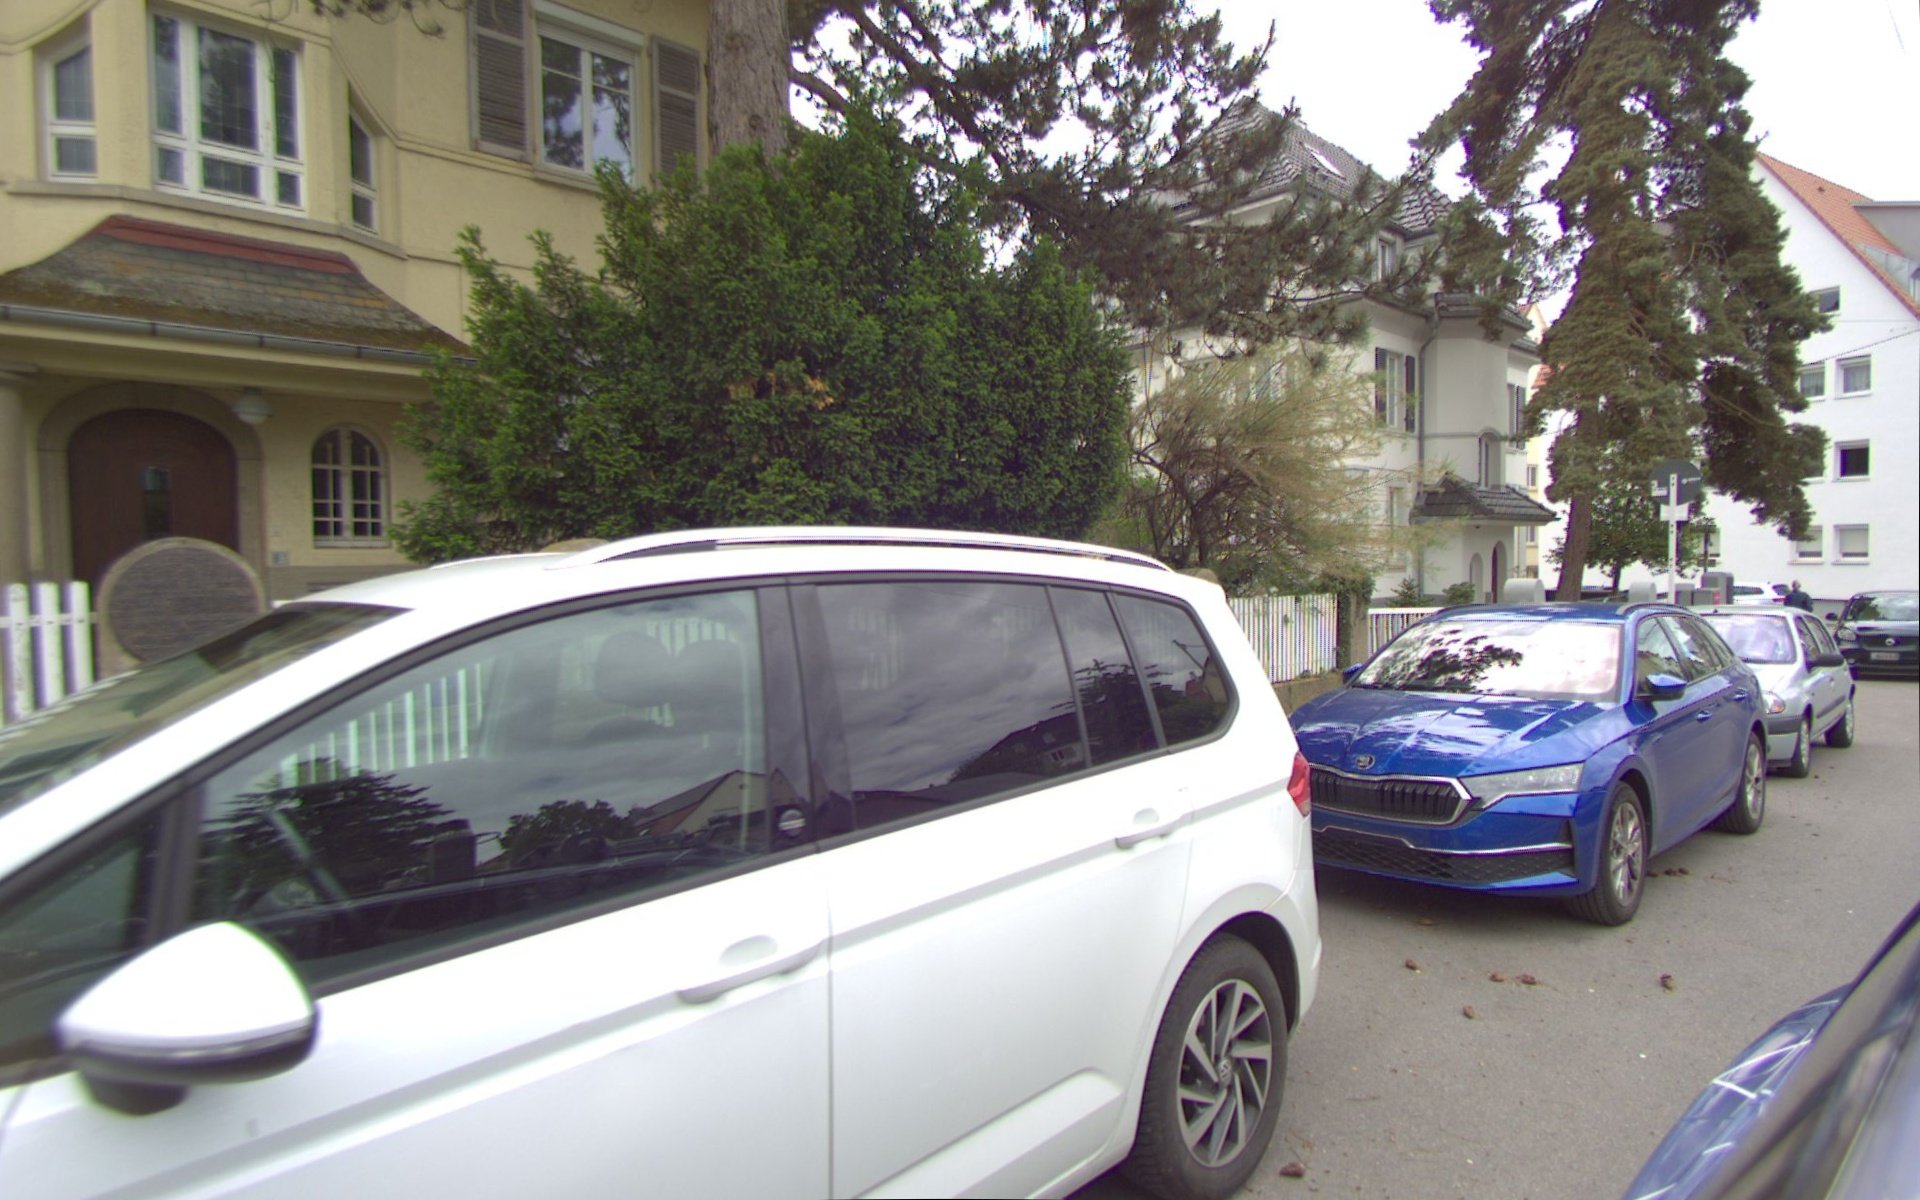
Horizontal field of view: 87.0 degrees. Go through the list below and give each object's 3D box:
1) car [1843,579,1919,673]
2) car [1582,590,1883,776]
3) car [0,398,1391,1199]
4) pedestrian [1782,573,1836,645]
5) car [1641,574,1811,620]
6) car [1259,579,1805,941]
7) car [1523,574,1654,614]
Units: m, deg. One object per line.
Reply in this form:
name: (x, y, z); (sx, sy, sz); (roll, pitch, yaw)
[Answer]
car: (16.769, 0.418, 17.812); (2.820, 1.551, 1.572); (-1, -1, -44)
car: (7.408, 0.634, 9.593); (3.591, 1.418, 1.576); (-1, 0, -41)
car: (-0.913, 0.625, 2.171); (4.231, 1.624, 1.787); (-1, -1, -43)
pedestrian: (19.781, 0.186, 23.584); (0.889, 1.595, 0.683); (-2, 4, -35)
car: (26.332, -0.116, 34.940); (1.728, 1.468, 4.365); (-1, 1, -28)
car: (3.653, 0.637, 6.137); (3.982, 1.477, 1.650); (-1, 0, -41)
car: (24.328, -0.234, 39.323); (1.702, 1.440, 4.006); (-1, 0, -25)
